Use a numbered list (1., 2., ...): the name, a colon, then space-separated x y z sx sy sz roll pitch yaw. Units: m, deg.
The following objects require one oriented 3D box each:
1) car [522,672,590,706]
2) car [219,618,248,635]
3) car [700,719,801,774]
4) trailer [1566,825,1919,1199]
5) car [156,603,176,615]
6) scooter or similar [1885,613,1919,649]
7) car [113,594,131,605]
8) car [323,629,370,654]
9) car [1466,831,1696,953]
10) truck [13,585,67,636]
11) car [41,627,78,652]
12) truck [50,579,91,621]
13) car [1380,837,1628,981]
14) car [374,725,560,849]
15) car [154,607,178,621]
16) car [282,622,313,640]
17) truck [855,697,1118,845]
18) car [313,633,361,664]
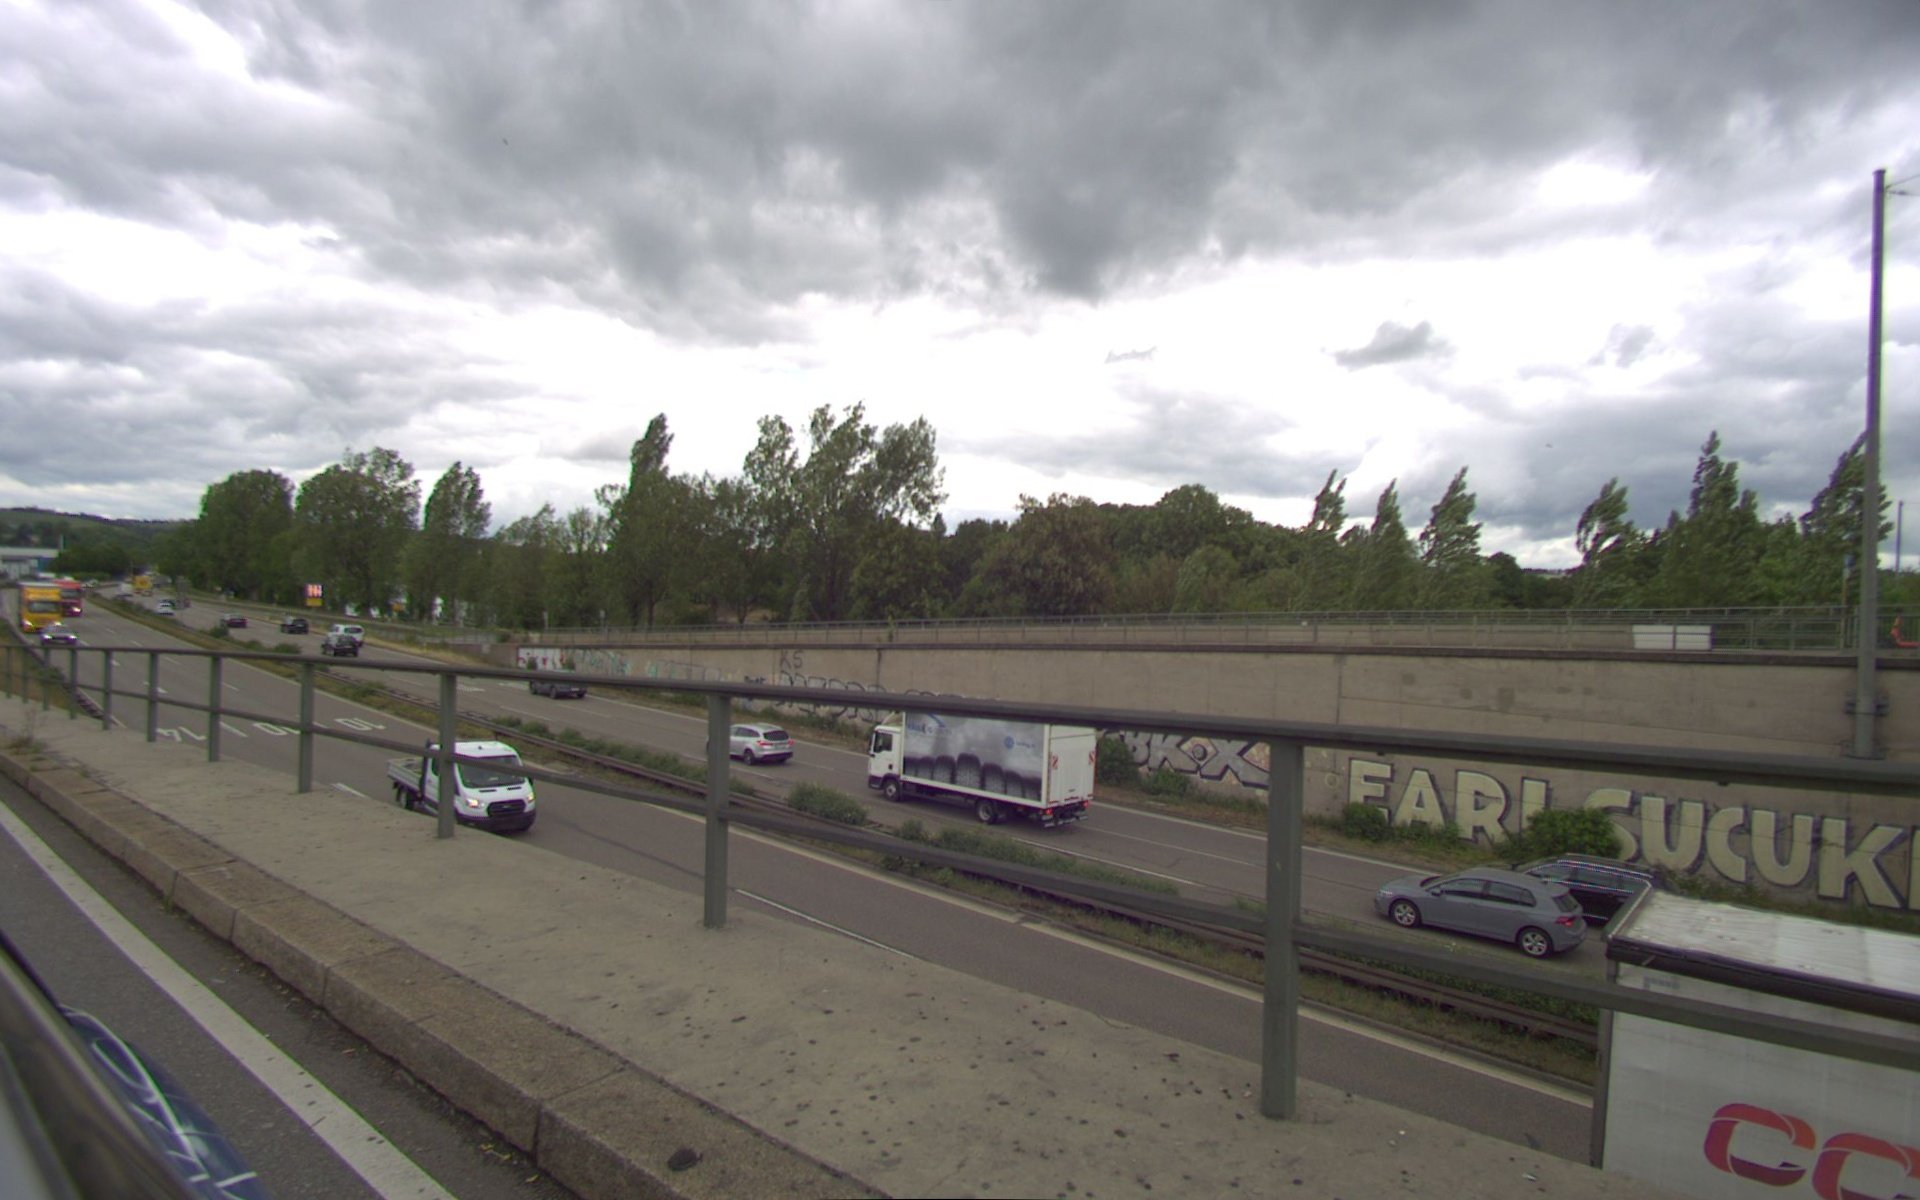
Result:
1. car: -23.998 5.240 59.993 4.327 1.630 1.972 1 -2 42
2. car: -78.314 2.830 109.053 1.970 1.730 3.643 4 -3 -44
3. car: -8.598 5.940 41.331 4.331 1.630 1.971 1 -2 45
4. trailer: 11.836 4.988 5.701 14.121 5.028 2.941 -1 -1 41
5. car: -116.359 1.327 148.298 1.970 1.730 3.642 4 -3 -44
6. scooter or similar: 28.694 0.919 30.328 1.332 1.064 0.479 -1 -1 33
7. car: -143.632 -0.031 173.493 3.642 1.730 1.971 0 -3 45
8. car: -55.061 3.710 90.774 2.560 2.029 4.645 3 -1 -44
9. car: 15.096 6.996 24.750 4.427 1.577 2.108 3 0 44
10. truck: -82.659 0.877 90.868 10.030 4.215 2.860 2 -2 45
11. car: -67.609 2.944 75.953 1.852 1.710 3.843 2 -1 -44
12. truck: -102.040 -0.049 116.030 2.847 4.389 13.270 2 0 -44
13. car: 12.006 6.708 22.526 4.427 1.730 2.108 3 0 44
14. car: -14.058 5.085 28.603 6.554 2.248 2.321 2 -1 42
15. car: -101.374 1.811 129.162 1.970 1.730 3.643 4 -3 -44
16. car: -68.177 3.228 104.138 1.970 1.782 3.485 2 -3 -44
17. truck: 0.701 5.367 33.479 8.238 3.482 3.545 2 -2 42
18. car: -49.538 3.847 80.451 2.192 2.028 4.645 3 1 -45
